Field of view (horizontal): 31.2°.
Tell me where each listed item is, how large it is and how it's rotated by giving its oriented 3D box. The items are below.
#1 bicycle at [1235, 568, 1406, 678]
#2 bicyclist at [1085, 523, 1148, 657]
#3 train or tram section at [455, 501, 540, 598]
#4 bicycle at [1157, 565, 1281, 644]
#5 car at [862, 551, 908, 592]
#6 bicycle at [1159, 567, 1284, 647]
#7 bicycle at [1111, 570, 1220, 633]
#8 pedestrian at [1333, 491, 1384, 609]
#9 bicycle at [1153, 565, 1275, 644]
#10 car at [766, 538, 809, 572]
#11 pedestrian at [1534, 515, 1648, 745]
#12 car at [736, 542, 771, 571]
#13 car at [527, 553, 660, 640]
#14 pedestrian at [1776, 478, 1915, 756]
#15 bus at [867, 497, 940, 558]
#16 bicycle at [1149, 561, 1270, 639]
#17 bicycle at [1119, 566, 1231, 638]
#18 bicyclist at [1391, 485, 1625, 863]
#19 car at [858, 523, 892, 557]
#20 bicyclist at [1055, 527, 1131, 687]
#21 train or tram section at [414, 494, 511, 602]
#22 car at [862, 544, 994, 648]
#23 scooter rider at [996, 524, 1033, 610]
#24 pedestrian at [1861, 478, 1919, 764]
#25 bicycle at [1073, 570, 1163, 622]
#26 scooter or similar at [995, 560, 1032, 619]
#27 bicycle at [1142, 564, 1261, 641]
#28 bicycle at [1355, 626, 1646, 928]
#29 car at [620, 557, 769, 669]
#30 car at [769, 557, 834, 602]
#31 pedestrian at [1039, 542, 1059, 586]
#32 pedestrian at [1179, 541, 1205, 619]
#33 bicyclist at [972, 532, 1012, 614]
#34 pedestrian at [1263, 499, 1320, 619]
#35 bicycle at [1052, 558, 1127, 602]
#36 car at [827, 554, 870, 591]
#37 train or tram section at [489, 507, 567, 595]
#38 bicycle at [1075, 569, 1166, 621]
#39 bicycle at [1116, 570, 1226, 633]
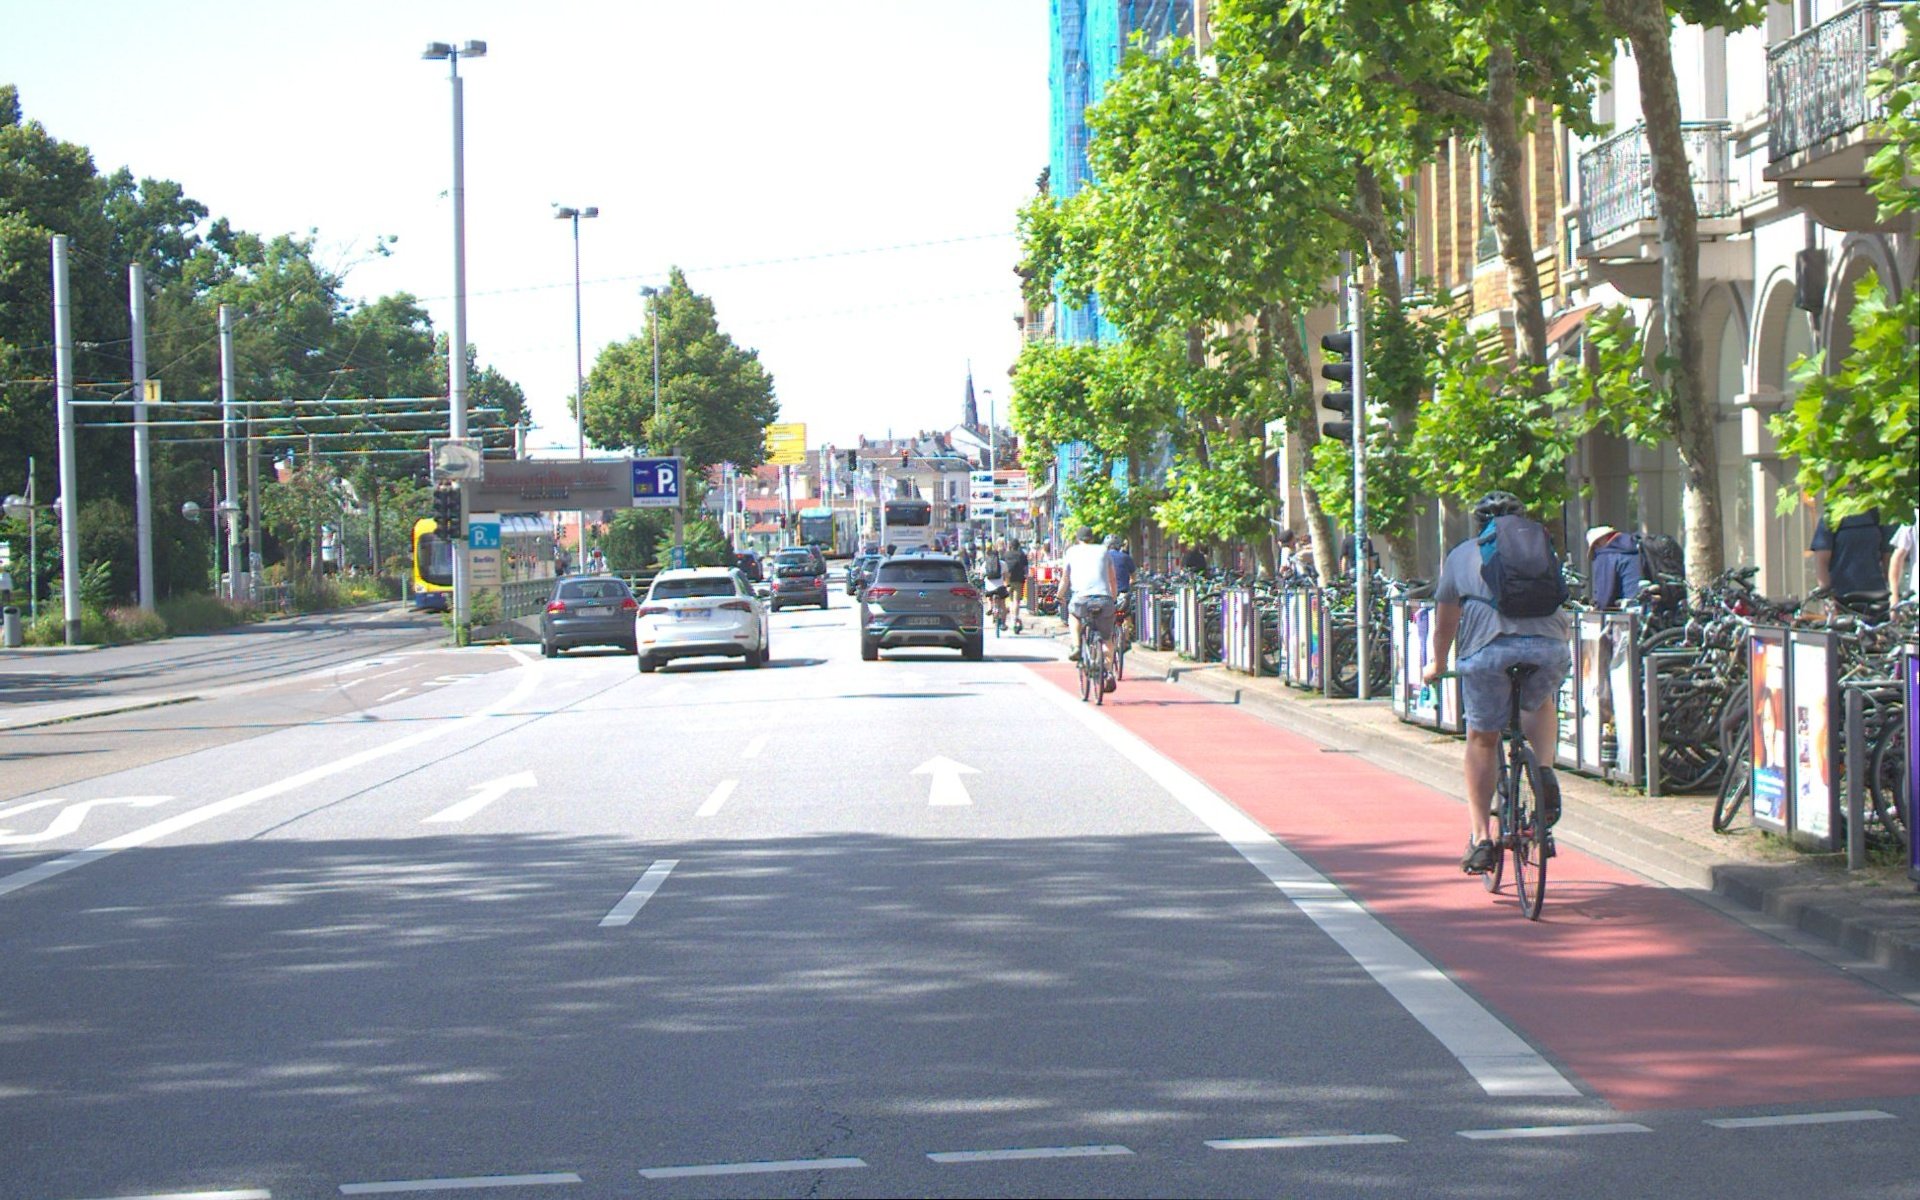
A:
[{"bbox_3d":[3.857,0.237,36.786,1.752,1.143,0.483,-1,0,-3],"label":"bicycle"},{"bbox_3d":[1.906,-0.123,41.968,0.688,1.611,0.918,1,0,-1],"label":"bicyclist"},{"bbox_3d":[-17.450,-1.888,130.031,2.613,3.569,5.357,1,1,-2],"label":"train or tram section"},{"bbox_3d":[3.814,0.063,50.629,1.752,1.143,0.483,-1,0,-3],"label":"bicycle"},{"bbox_3d":[-2.433,-0.937,112.243,1.451,1.296,3.342,1,1,-1],"label":"car"},{"bbox_3d":[3.803,0.097,50.052,1.752,1.143,0.483,-1,0,-3],"label":"bicycle"},{"bbox_3d":[3.429,0.018,57.359,1.752,1.014,0.483,-1,0,-3],"label":"bicycle"},{"bbox_3d":[6.091,-0.760,52.587,0.668,1.775,0.985,-2,0,3],"label":"pedestrian"},{"bbox_3d":[3.776,0.066,51.125,1.752,1.143,0.483,-1,0,-3],"label":"bicycle"},{"bbox_3d":[-6.628,-1.721,132.254,1.451,1.296,4.000,1,1,-1],"label":"car"},{"bbox_3d":[4.276,0.198,23.320,0.604,1.533,0.667,1,0,-3],"label":"pedestrian"},{"bbox_3d":[-9.623,-2.036,160.287,1.451,1.296,4.000,1,1,-1],"label":"car"},{"bbox_3d":[-6.561,-0.080,61.928,1.993,1.503,4.000,1,1,-1],"label":"car"},{"bbox_3d":[6.157,0.116,23.925,0.700,1.896,0.777,1,0,-3],"label":"pedestrian"},{"bbox_3d":[-2.729,-3.411,163.657,2.968,2.767,8.643,-1,1,-4],"label":"bus"},{"bbox_3d":[3.737,-0.003,51.620,1.752,1.143,0.483,-1,0,-3],"label":"bicycle"},{"bbox_3d":[3.490,0.034,55.925,1.752,1.143,0.483,-1,0,-3],"label":"bicycle"},{"bbox_3d":[2.199,0.283,13.915,0.688,1.458,1.143,1,0,-3],"label":"bicyclist"},{"bbox_3d":[-5.089,-3.591,205.837,1.993,2.007,4.000,1,1,-1],"label":"car"},{"bbox_3d":[1.330,0.064,34.537,0.688,1.571,1.049,1,0,-1],"label":"bicyclist"},{"bbox_3d":[-17.071,-1.764,118.238,2.613,3.569,6.104,1,1,-2],"label":"train or tram section"},{"bbox_3d":[-0.477,-0.075,51.040,1.873,1.487,4.000,0,1,-1],"label":"car"},{"bbox_3d":[1.105,-0.674,69.749,0.688,1.723,0.778,1,0,-1],"label":"scooter rider"},{"bbox_3d":[6.200,0.131,21.938,0.633,1.787,0.777,1,0,-3],"label":"pedestrian"},{"bbox_3d":[3.174,-0.075,69.240,1.752,1.014,0.483,-1,0,-3],"label":"bicycle"},{"bbox_3d":[1.083,-0.218,69.673,0.688,1.163,1.464,1,0,-1],"label":"scooter or similar"},{"bbox_3d":[3.687,0.030,52.609,1.752,1.143,0.483,-1,0,-3],"label":"bicycle"},{"bbox_3d":[2.156,0.677,13.999,0.734,1.089,2.131,1,1,-3],"label":"bicycle"},{"bbox_3d":[-3.825,0.163,50.078,1.858,1.502,4.000,-2,1,-1],"label":"car"},{"bbox_3d":[-4.789,-0.633,104.286,1.815,1.328,4.000,1,1,-1],"label":"car"},{"bbox_3d":[3.396,-1.380,131.228,0.654,1.615,0.815,-2,2,-3],"label":"pedestrian"},{"bbox_3d":[5.068,-0.438,74.983,0.380,1.677,0.477,-2,0,-14],"label":"pedestrian"},{"bbox_3d":[0.617,-0.525,67.036,0.688,1.571,1.049,1,0,-3],"label":"bicyclist"},{"bbox_3d":[4.541,-0.565,47.134,0.652,1.628,0.730,1,0,-4],"label":"pedestrian"},{"bbox_3d":[3.103,-0.483,82.718,1.752,1.014,0.483,-1,0,-3],"label":"bicycle"},{"bbox_3d":[-3.989,-0.997,123.089,1.451,1.296,3.342,1,1,-3],"label":"car"},{"bbox_3d":[-17.890,-2.019,142.589,2.613,3.569,6.018,1,1,-2],"label":"train or tram section"},{"bbox_3d":[3.203,-0.097,68.639,1.752,1.014,0.483,-1,0,-3],"label":"bicycle"},{"bbox_3d":[3.481,0.025,56.699,1.752,1.014,0.483,-1,0,-3],"label":"bicycle"}]
